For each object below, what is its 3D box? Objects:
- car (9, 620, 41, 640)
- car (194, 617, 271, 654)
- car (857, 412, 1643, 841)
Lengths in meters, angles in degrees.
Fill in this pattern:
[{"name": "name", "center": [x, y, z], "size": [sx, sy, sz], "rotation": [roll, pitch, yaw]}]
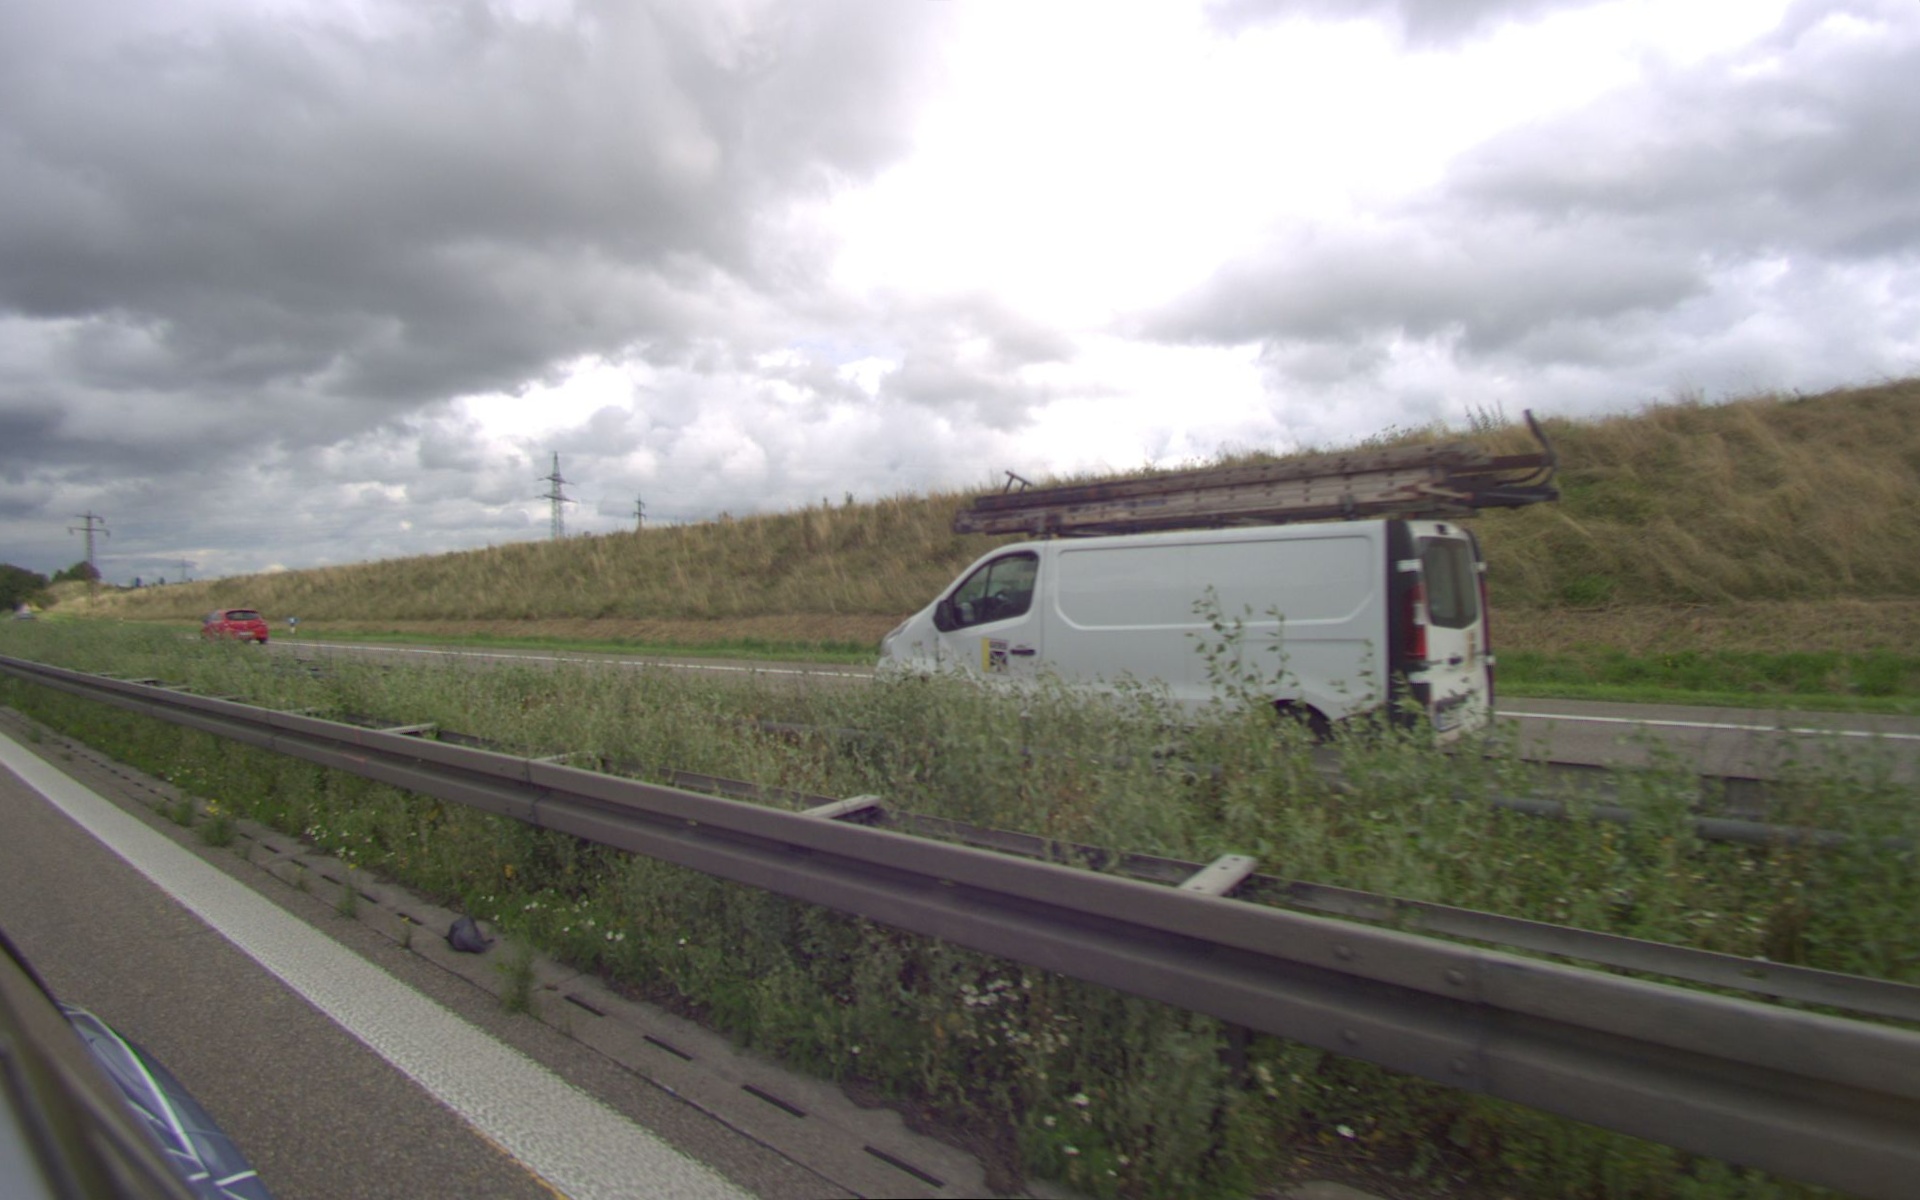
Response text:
[{"name": "car", "center": [-86.009, 2.715, 93.056], "size": [3.999, 1.715, 1.797], "rotation": [-1, 0, 42]}, {"name": "car", "center": [-30.166, 1.440, 41.931], "size": [4.341, 1.414, 1.706], "rotation": [-1, 0, 42]}, {"name": "car", "center": [1.918, 0.161, 8.253], "size": [5.867, 2.366, 1.973], "rotation": [-1, 0, 41]}]
